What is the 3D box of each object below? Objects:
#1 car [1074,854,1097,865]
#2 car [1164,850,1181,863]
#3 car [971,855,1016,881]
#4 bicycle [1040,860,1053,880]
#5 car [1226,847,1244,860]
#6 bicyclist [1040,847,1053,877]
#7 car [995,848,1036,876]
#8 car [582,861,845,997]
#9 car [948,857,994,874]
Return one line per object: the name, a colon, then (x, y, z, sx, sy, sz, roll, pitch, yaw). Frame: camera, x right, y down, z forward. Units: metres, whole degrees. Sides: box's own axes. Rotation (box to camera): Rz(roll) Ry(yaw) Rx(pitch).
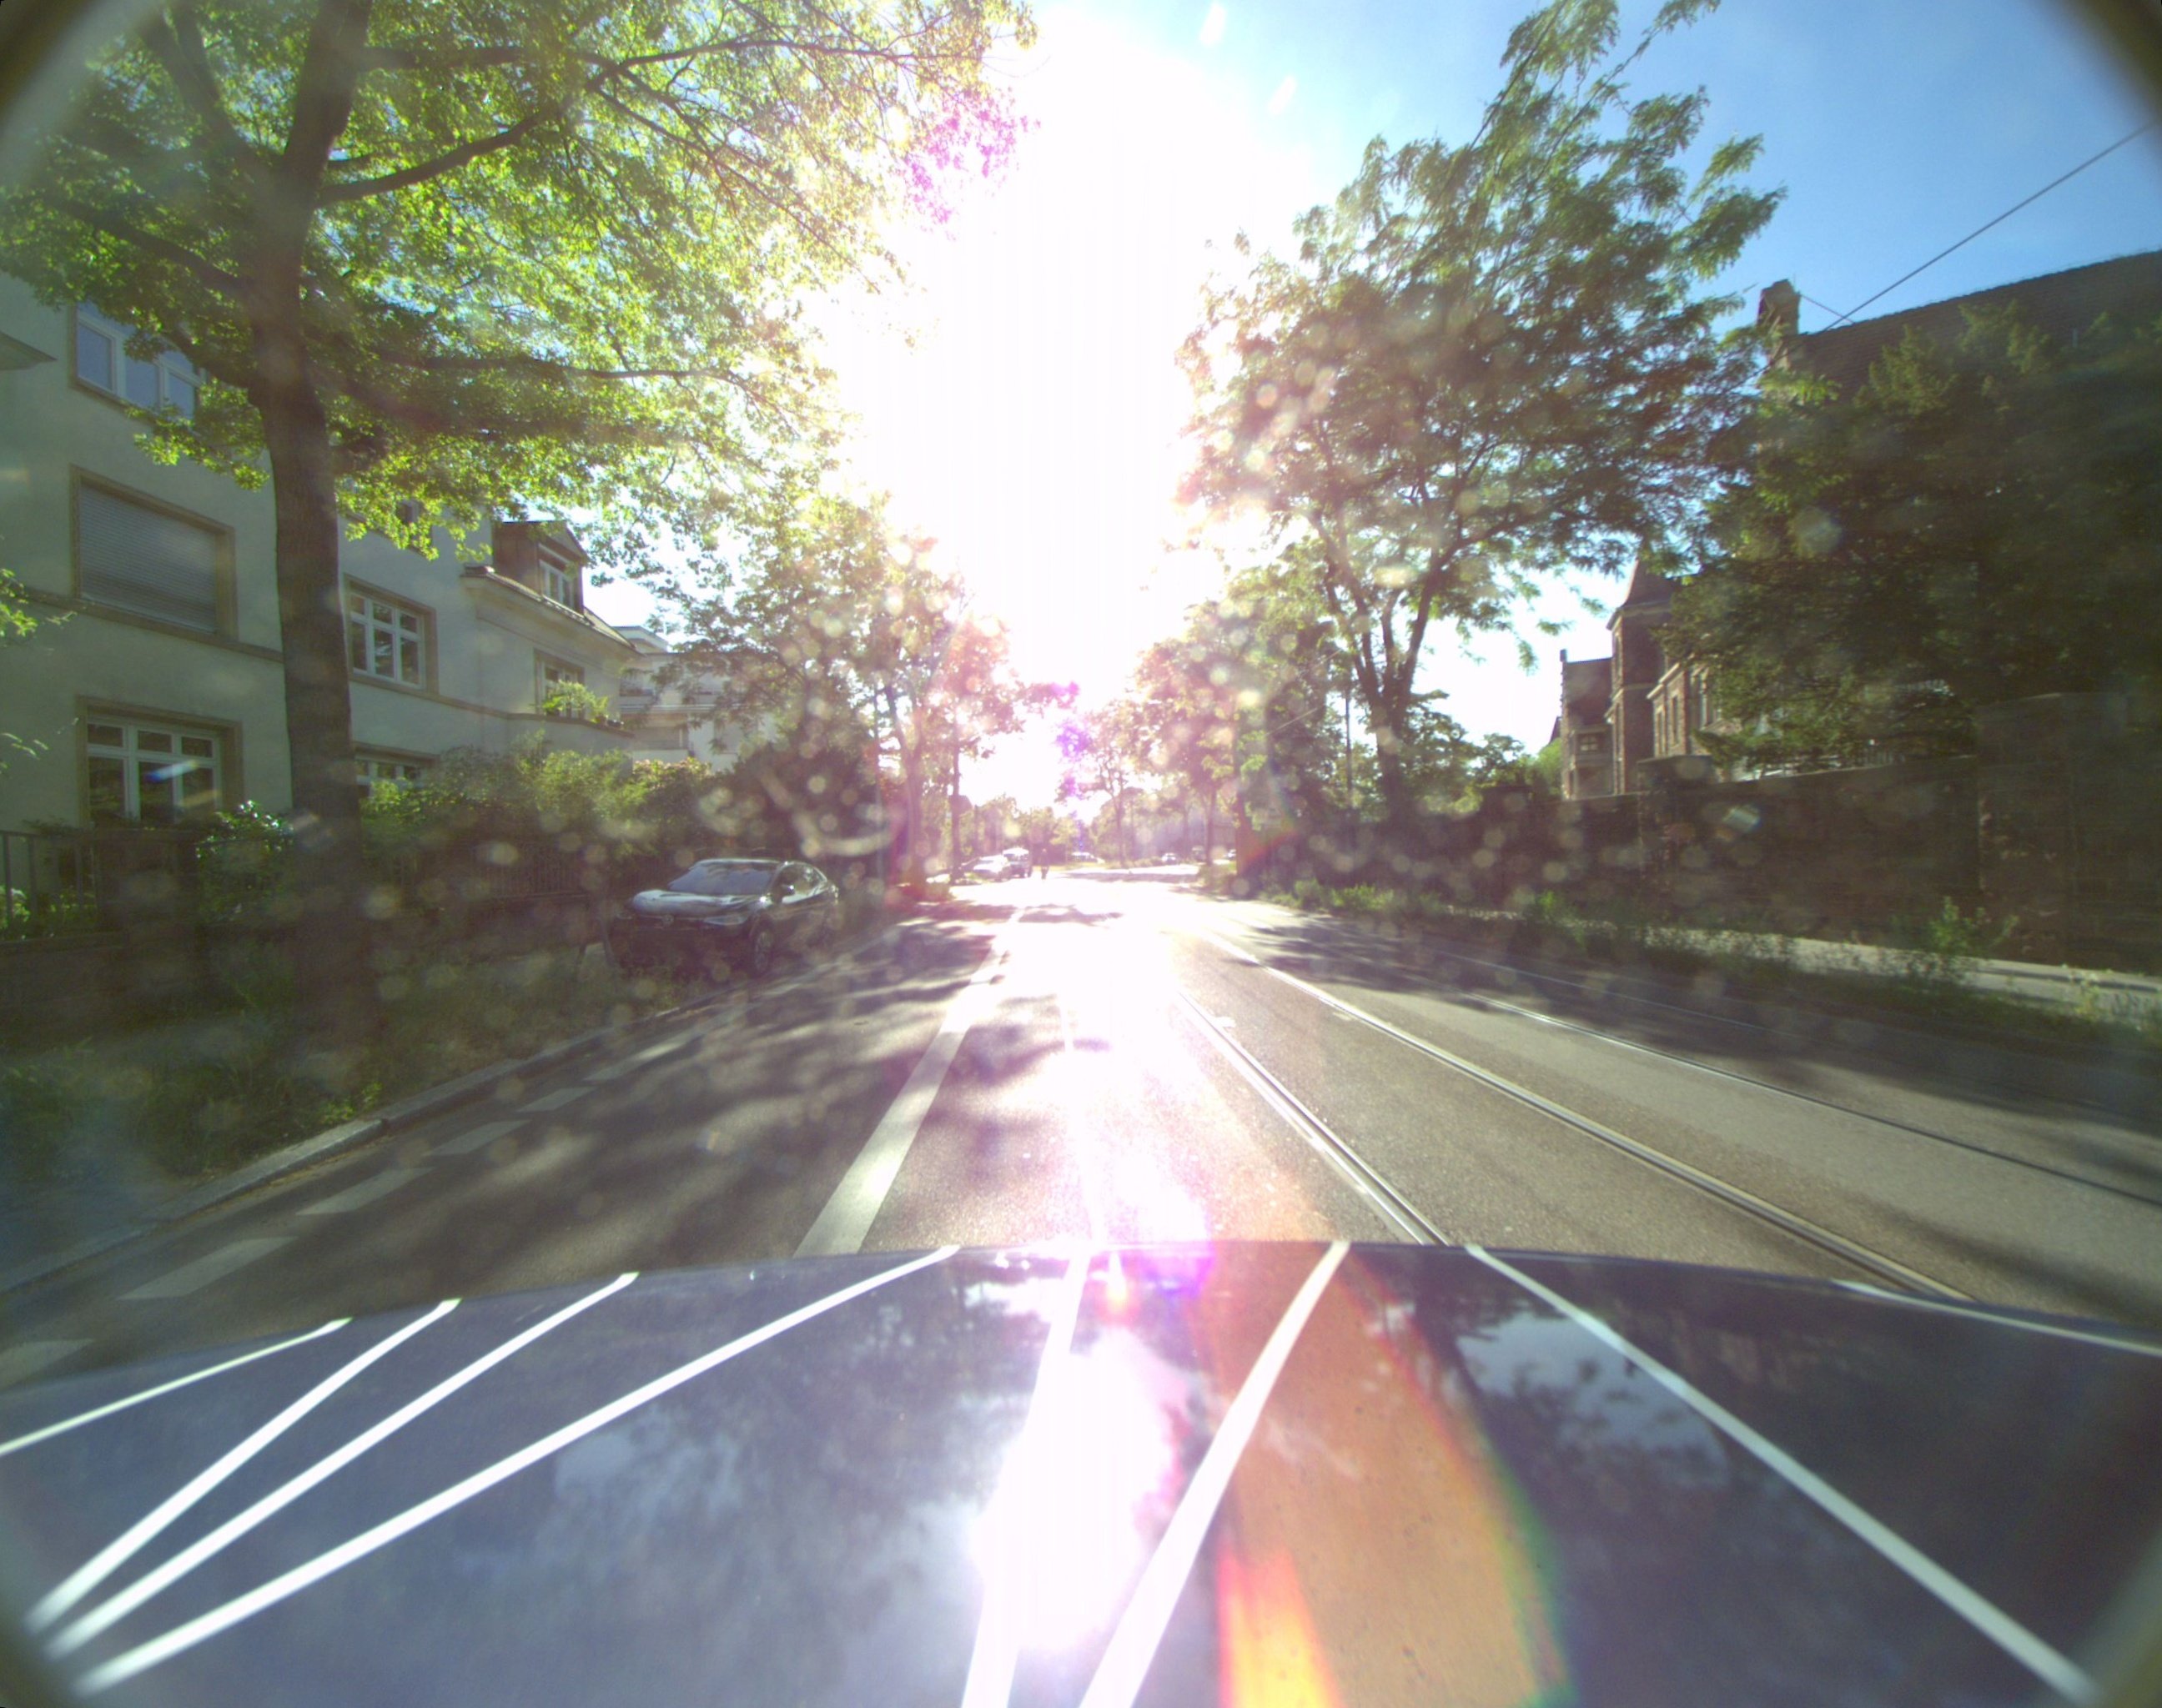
car: (0.748, 0.918, 128.795, 3.908, 1.683, 1.905, -1, 0, -1)
car: (11.911, 0.318, 98.727, 1.997, 1.539, 4.002, -2, 0, 8)
car: (-5.168, 0.794, 45.339, 1.901, 1.402, 4.260, -1, 0, 4)
bicycle: (-1.930, 0.897, 42.929, 0.588, 1.105, 1.855, -2, 0, 1)
car: (23.619, -0.094, 116.496, 1.874, 1.805, 4.974, -1, 0, 22)
bicyclist: (-1.954, 0.447, 42.950, 0.644, 1.632, 0.665, -2, 1, 0)
car: (-4.406, 0.506, 51.695, 1.900, 1.775, 4.670, -1, 0, 6)
car: (-5.201, 0.948, 11.513, 1.919, 1.590, 4.258, 2, 0, -1)
car: (-10.046, 1.046, 69.544, 3.998, 1.433, 1.813, -2, 0, -3)
